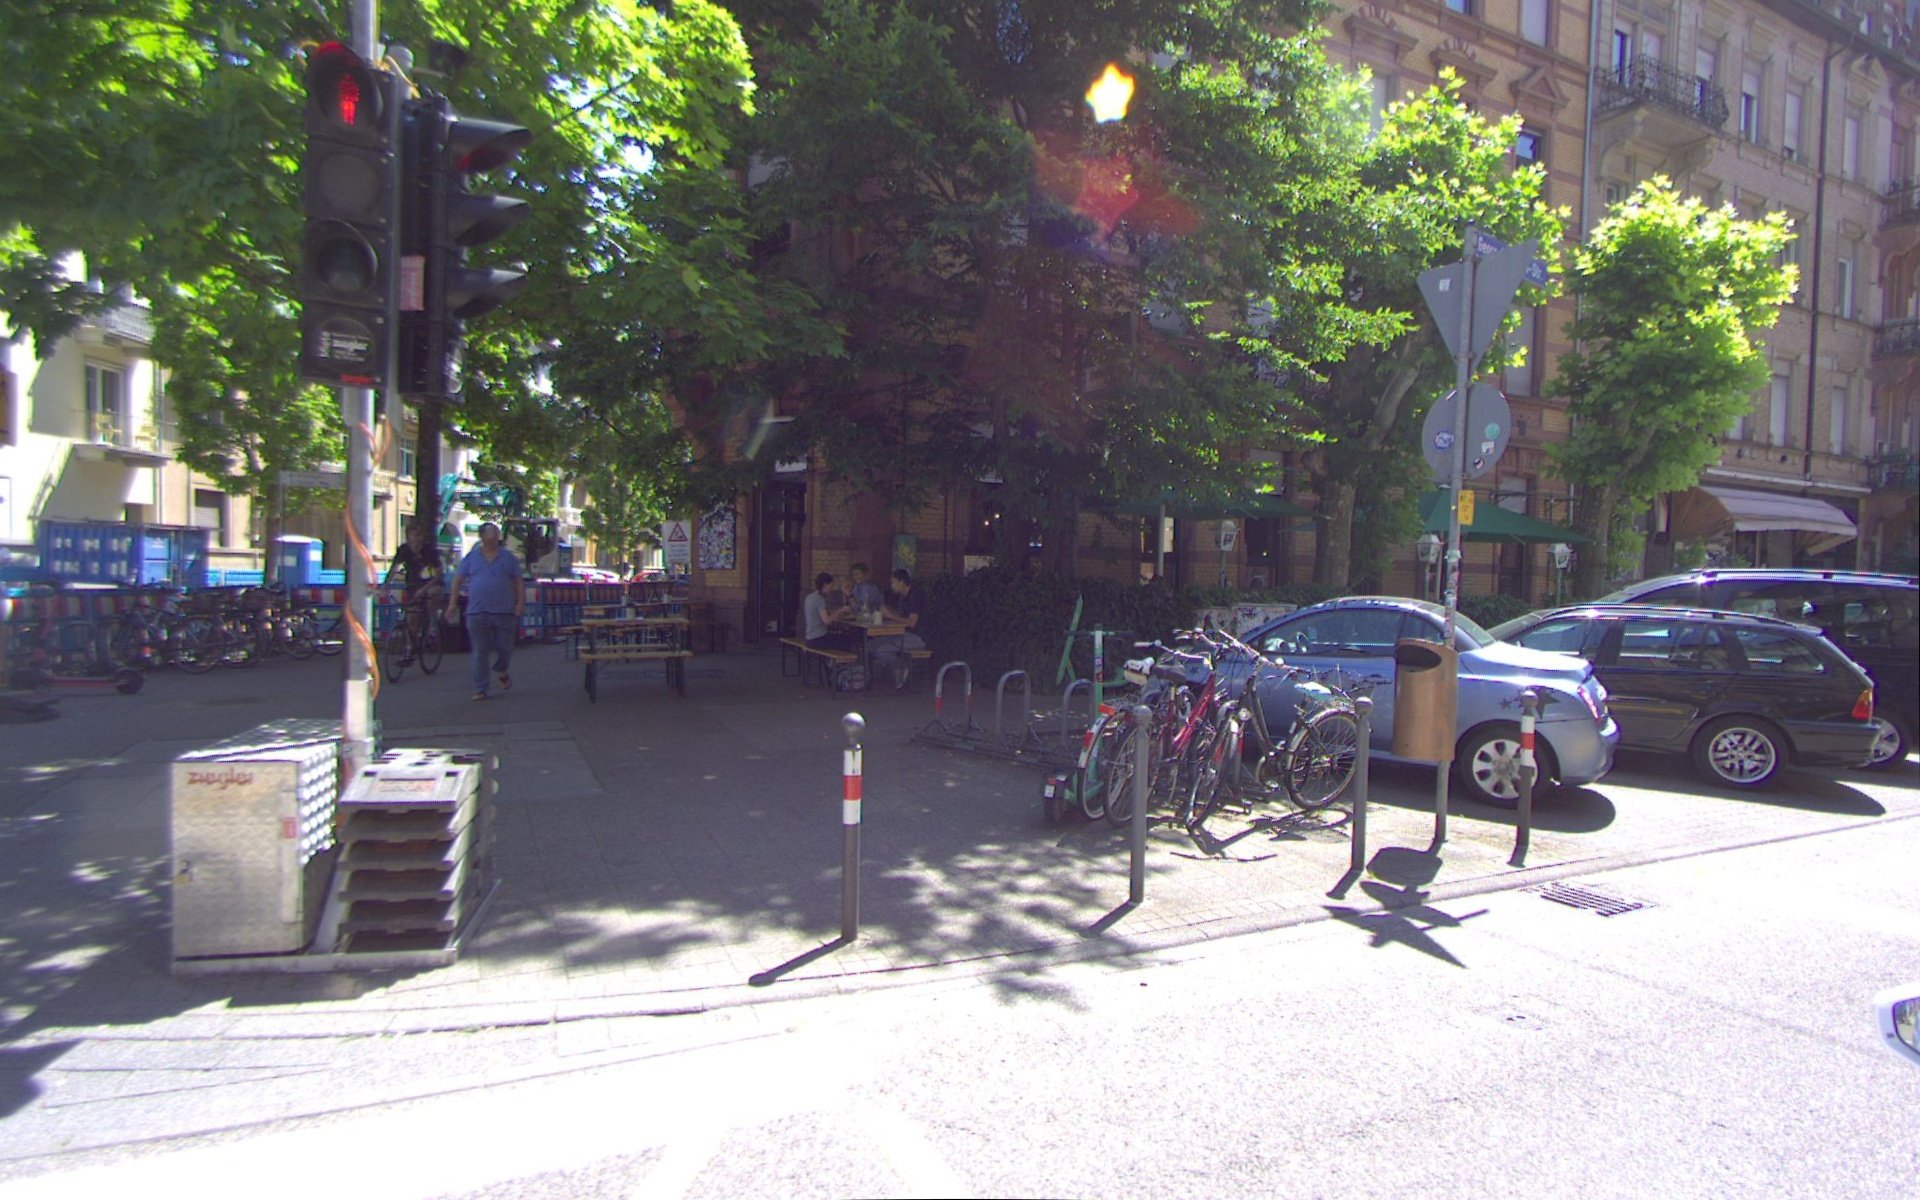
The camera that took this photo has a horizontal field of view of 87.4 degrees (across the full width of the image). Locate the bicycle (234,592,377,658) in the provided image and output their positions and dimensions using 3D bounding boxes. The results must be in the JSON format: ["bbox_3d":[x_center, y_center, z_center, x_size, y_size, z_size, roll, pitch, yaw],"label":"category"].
[{"bbox_3d":[-10.063,0.382,15.488,1.780,0.947,0.490,2,2,-12],"label":"bicycle"}]

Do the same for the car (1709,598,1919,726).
[{"bbox_3d":[12.292,0.818,13.404,3.574,1.477,1.618,4,3,38],"label":"car"}]

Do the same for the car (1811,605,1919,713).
[{"bbox_3d":[15.217,0.902,14.655,3.849,1.490,1.864,2,2,26],"label":"car"}]

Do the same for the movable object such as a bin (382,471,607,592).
[{"bbox_3d":[-14.093,-1.989,31.175,3.249,3.256,6.750,2,2,6],"label":"movable object such as a bin"}]

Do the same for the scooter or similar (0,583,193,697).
[{"bbox_3d":[-8.990,0.406,10.503,1.453,1.121,0.522,1,2,-26],"label":"scooter or similar"}]

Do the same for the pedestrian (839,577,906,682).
[{"bbox_3d":[-1.066,0.343,12.313,0.548,1.236,0.597,2,2,29],"label":"pedestrian"}]

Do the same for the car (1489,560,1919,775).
[{"bbox_3d":[7.986,0.579,10.721,3.930,1.829,1.764,4,3,32],"label":"car"}]

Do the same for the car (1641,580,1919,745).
[{"bbox_3d":[10.675,0.705,12.006,3.940,1.680,1.751,5,4,41],"label":"car"}]

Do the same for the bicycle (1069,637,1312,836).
[{"bbox_3d":[1.580,0.831,6.680,1.883,1.096,0.486,0,4,-40],"label":"bicycle"}]

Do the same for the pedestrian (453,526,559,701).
[{"bbox_3d":[-4.707,0.126,10.405,0.920,1.727,0.634,1,3,-30],"label":"pedestrian"}]

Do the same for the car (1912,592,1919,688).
[{"bbox_3d":[18.051,0.764,15.903,3.848,1.641,1.864,2,2,24],"label":"car"}]

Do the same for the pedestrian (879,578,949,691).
[{"bbox_3d":[-0.522,0.381,11.513,0.548,1.236,0.597,2,2,29],"label":"pedestrian"}]

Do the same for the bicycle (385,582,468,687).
[{"bbox_3d":[-6.563,0.373,12.448,0.593,1.101,2.276,1,3,-20],"label":"bicycle"}]

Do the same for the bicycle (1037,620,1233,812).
[{"bbox_3d":[1.246,0.744,6.956,1.607,1.172,0.335,0,4,-40],"label":"bicycle"}]

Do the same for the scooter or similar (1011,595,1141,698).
[{"bbox_3d":[1.332,0.529,11.467,1.447,1.136,0.277,1,4,-19],"label":"scooter or similar"}]

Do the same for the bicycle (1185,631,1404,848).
[{"bbox_3d":[2.200,0.827,6.496,1.670,1.189,0.486,0,4,-40],"label":"bicycle"}]

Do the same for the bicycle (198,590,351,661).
[{"bbox_3d":[-10.028,0.363,14.733,1.780,1.002,0.490,0,2,-12],"label":"bicycle"}]

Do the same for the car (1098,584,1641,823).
[{"bbox_3d":[3.431,0.665,8.638,3.933,1.394,1.993,4,3,35],"label":"car"}]

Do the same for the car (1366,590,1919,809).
[{"bbox_3d":[6.130,0.740,9.476,3.930,1.431,1.966,4,3,32],"label":"car"}]

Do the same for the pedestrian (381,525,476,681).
[{"bbox_3d":[-6.449,0.018,12.239,0.851,1.814,1.003,1,3,-20],"label":"pedestrian"}]

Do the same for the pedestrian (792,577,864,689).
[{"bbox_3d":[-1.504,0.361,11.506,0.548,1.236,0.597,2,2,29],"label":"pedestrian"}]

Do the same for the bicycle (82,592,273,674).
[{"bbox_3d":[-9.992,0.423,12.873,1.896,0.976,0.490,2,2,-12],"label":"bicycle"}]
